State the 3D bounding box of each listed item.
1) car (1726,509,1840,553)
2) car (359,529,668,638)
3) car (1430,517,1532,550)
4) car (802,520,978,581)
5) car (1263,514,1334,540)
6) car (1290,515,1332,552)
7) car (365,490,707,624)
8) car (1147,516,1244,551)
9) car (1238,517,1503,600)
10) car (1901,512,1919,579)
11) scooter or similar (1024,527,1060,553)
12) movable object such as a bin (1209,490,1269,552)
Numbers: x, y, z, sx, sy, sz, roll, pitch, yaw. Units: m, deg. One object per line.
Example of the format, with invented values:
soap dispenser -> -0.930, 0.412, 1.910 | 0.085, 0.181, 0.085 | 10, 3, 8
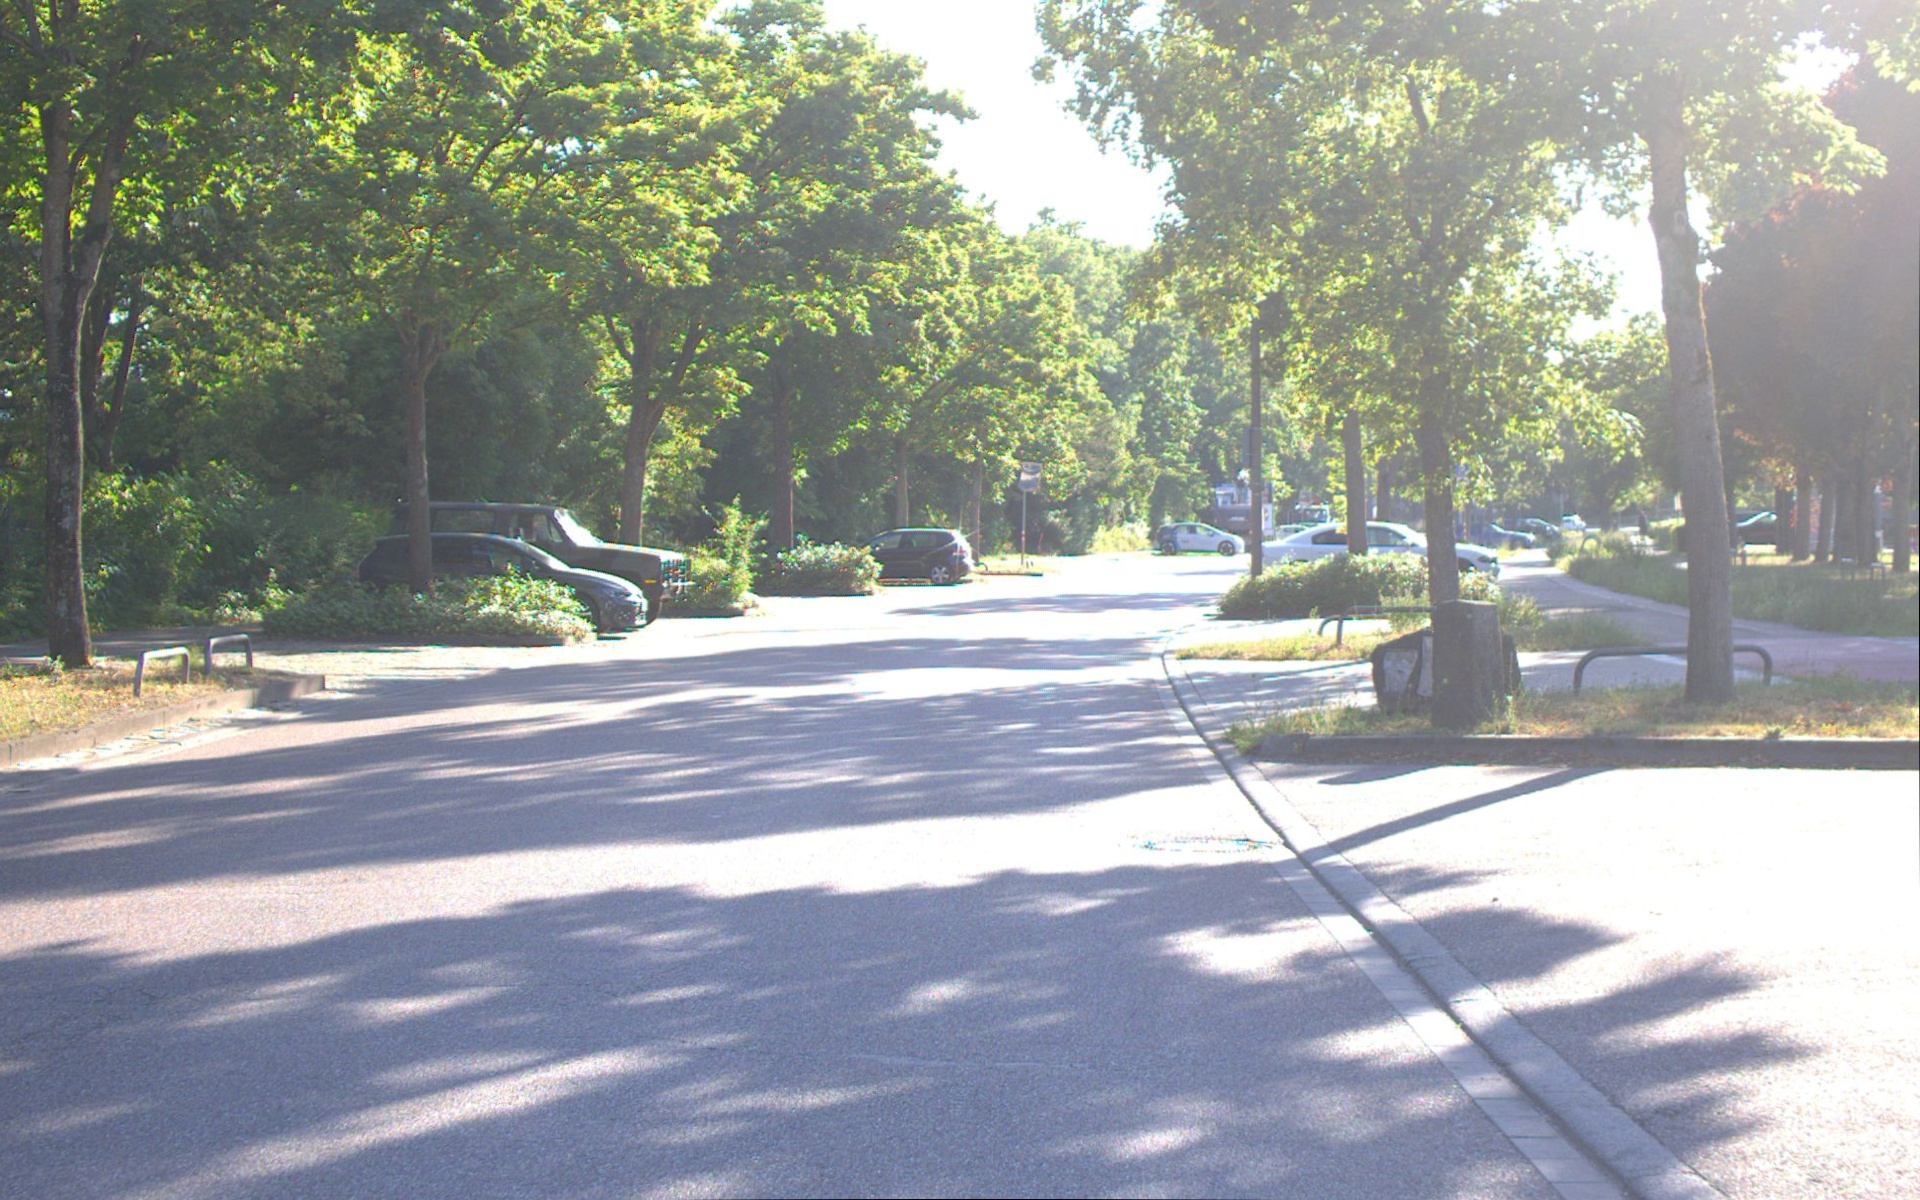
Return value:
car -> 34.218, -2.889, 142.985 | 4.431, 1.700, 2.058 | 2, 1, 10
car -> -6.481, -0.249, 50.154 | 4.212, 1.525, 1.705 | -1, 1, 4
car -> 25.782, -3.291, 170.197 | 4.844, 1.474, 1.999 | 2, 1, 12
car -> -1.838, -1.319, 90.926 | 4.360, 1.474, 1.999 | 2, 1, 8
car -> 21.161, -4.563, 215.228 | 4.359, 1.474, 2.000 | 2, 1, 4
car -> 22.905, -4.360, 224.385 | 2.517, 2.378, 4.372 | -1, 1, 4
car -> -6.640, -0.678, 54.210 | 5.005, 2.013, 2.174 | -1, 1, 4
car -> 11.200, -3.150, 163.271 | 4.361, 1.542, 1.999 | 2, 1, 12
car -> 8.178, -0.829, 68.800 | 5.176, 1.568, 2.157 | -1, 1, 5
car -> 24.516, -1.282, 79.640 | 1.994, 1.568, 4.951 | -1, 1, -43
scooter or similar -> 3.577, -2.610, 149.555 | 1.580, 1.141, 0.577 | -2, 1, -39
movable object such as a bin -> 14.251, -4.029, 175.590 | 2.839, 3.058, 4.926 | 2, 1, 6
